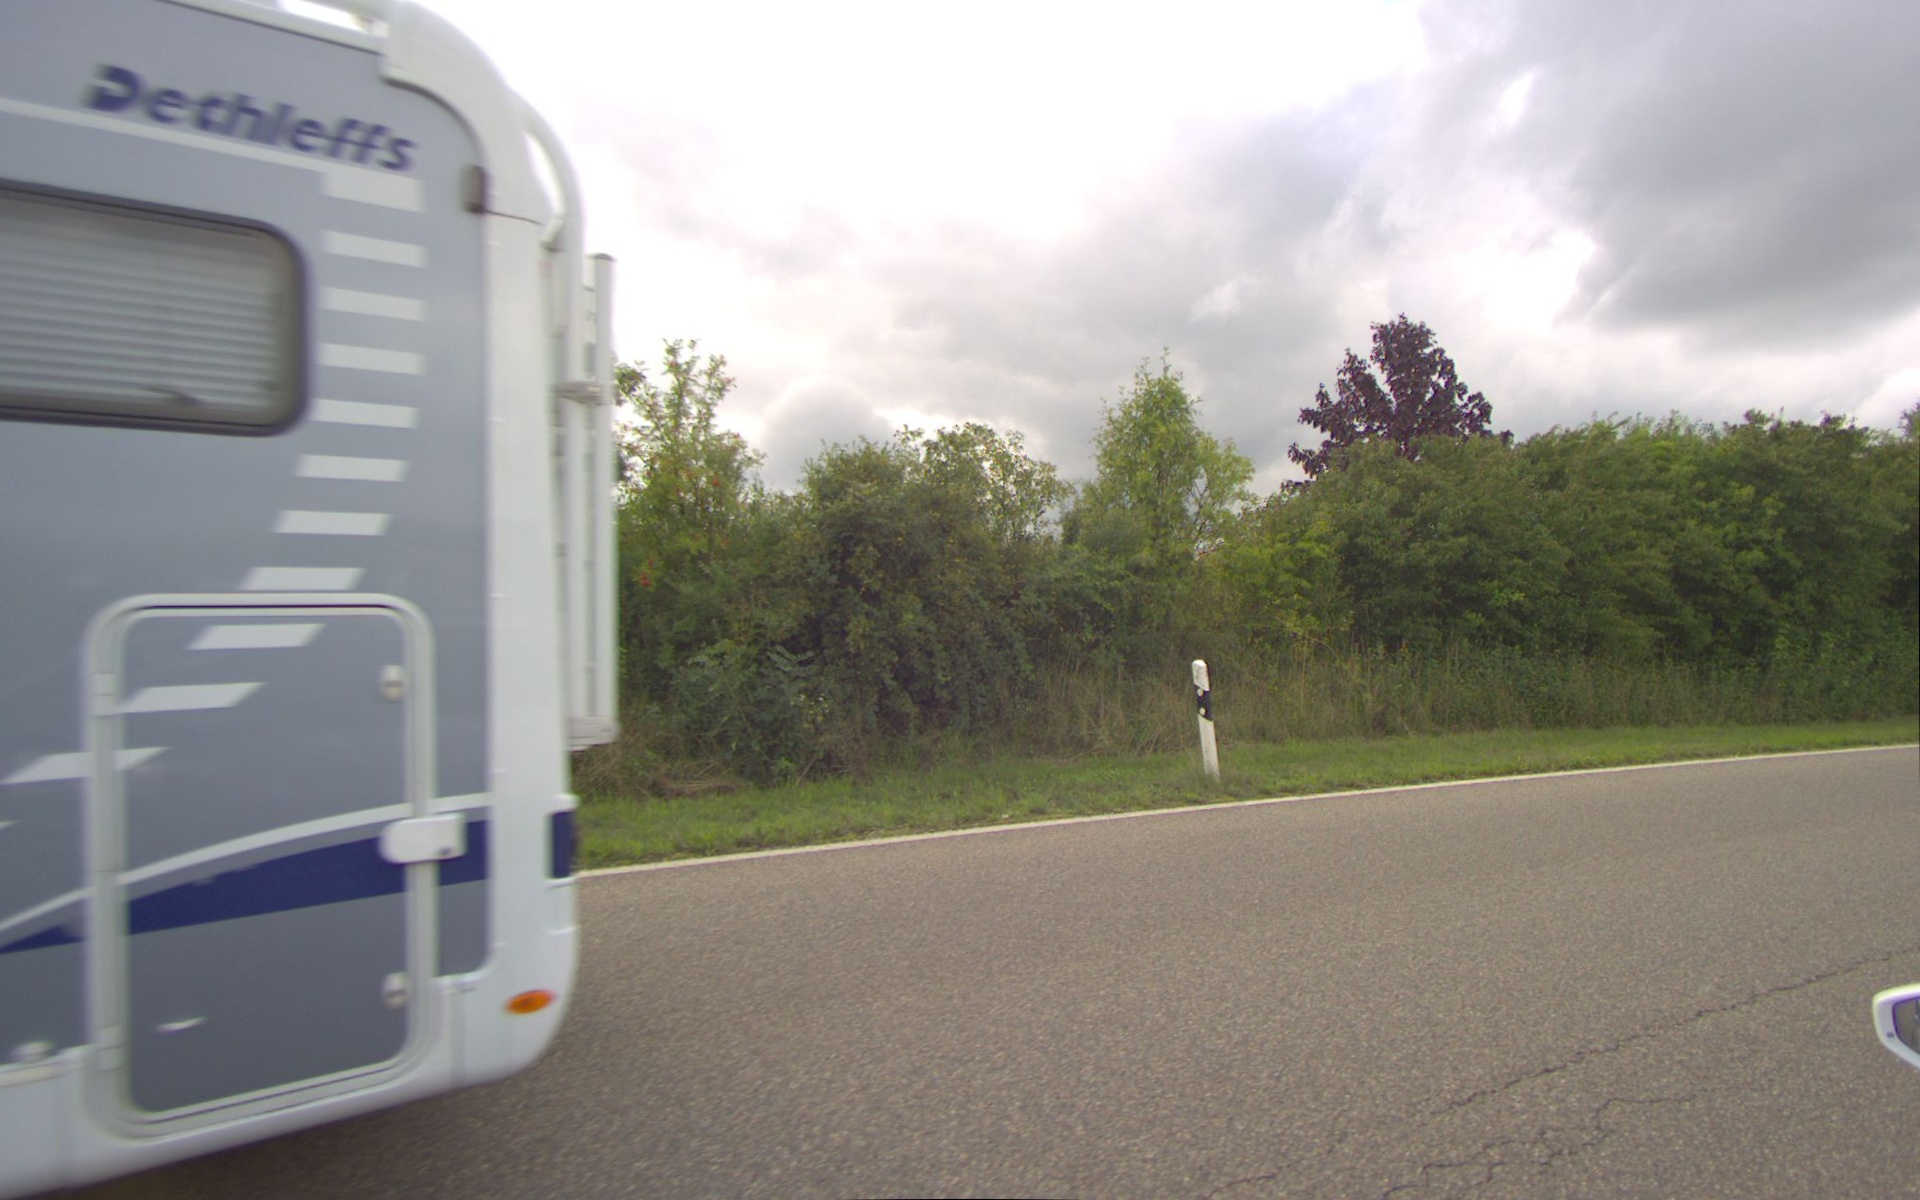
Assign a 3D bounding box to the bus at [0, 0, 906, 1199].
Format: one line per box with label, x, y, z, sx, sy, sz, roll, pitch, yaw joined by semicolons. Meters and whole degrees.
bus;-4.313;-0.045;1.394;8.337;2.747;2.462;2;-2;-32
